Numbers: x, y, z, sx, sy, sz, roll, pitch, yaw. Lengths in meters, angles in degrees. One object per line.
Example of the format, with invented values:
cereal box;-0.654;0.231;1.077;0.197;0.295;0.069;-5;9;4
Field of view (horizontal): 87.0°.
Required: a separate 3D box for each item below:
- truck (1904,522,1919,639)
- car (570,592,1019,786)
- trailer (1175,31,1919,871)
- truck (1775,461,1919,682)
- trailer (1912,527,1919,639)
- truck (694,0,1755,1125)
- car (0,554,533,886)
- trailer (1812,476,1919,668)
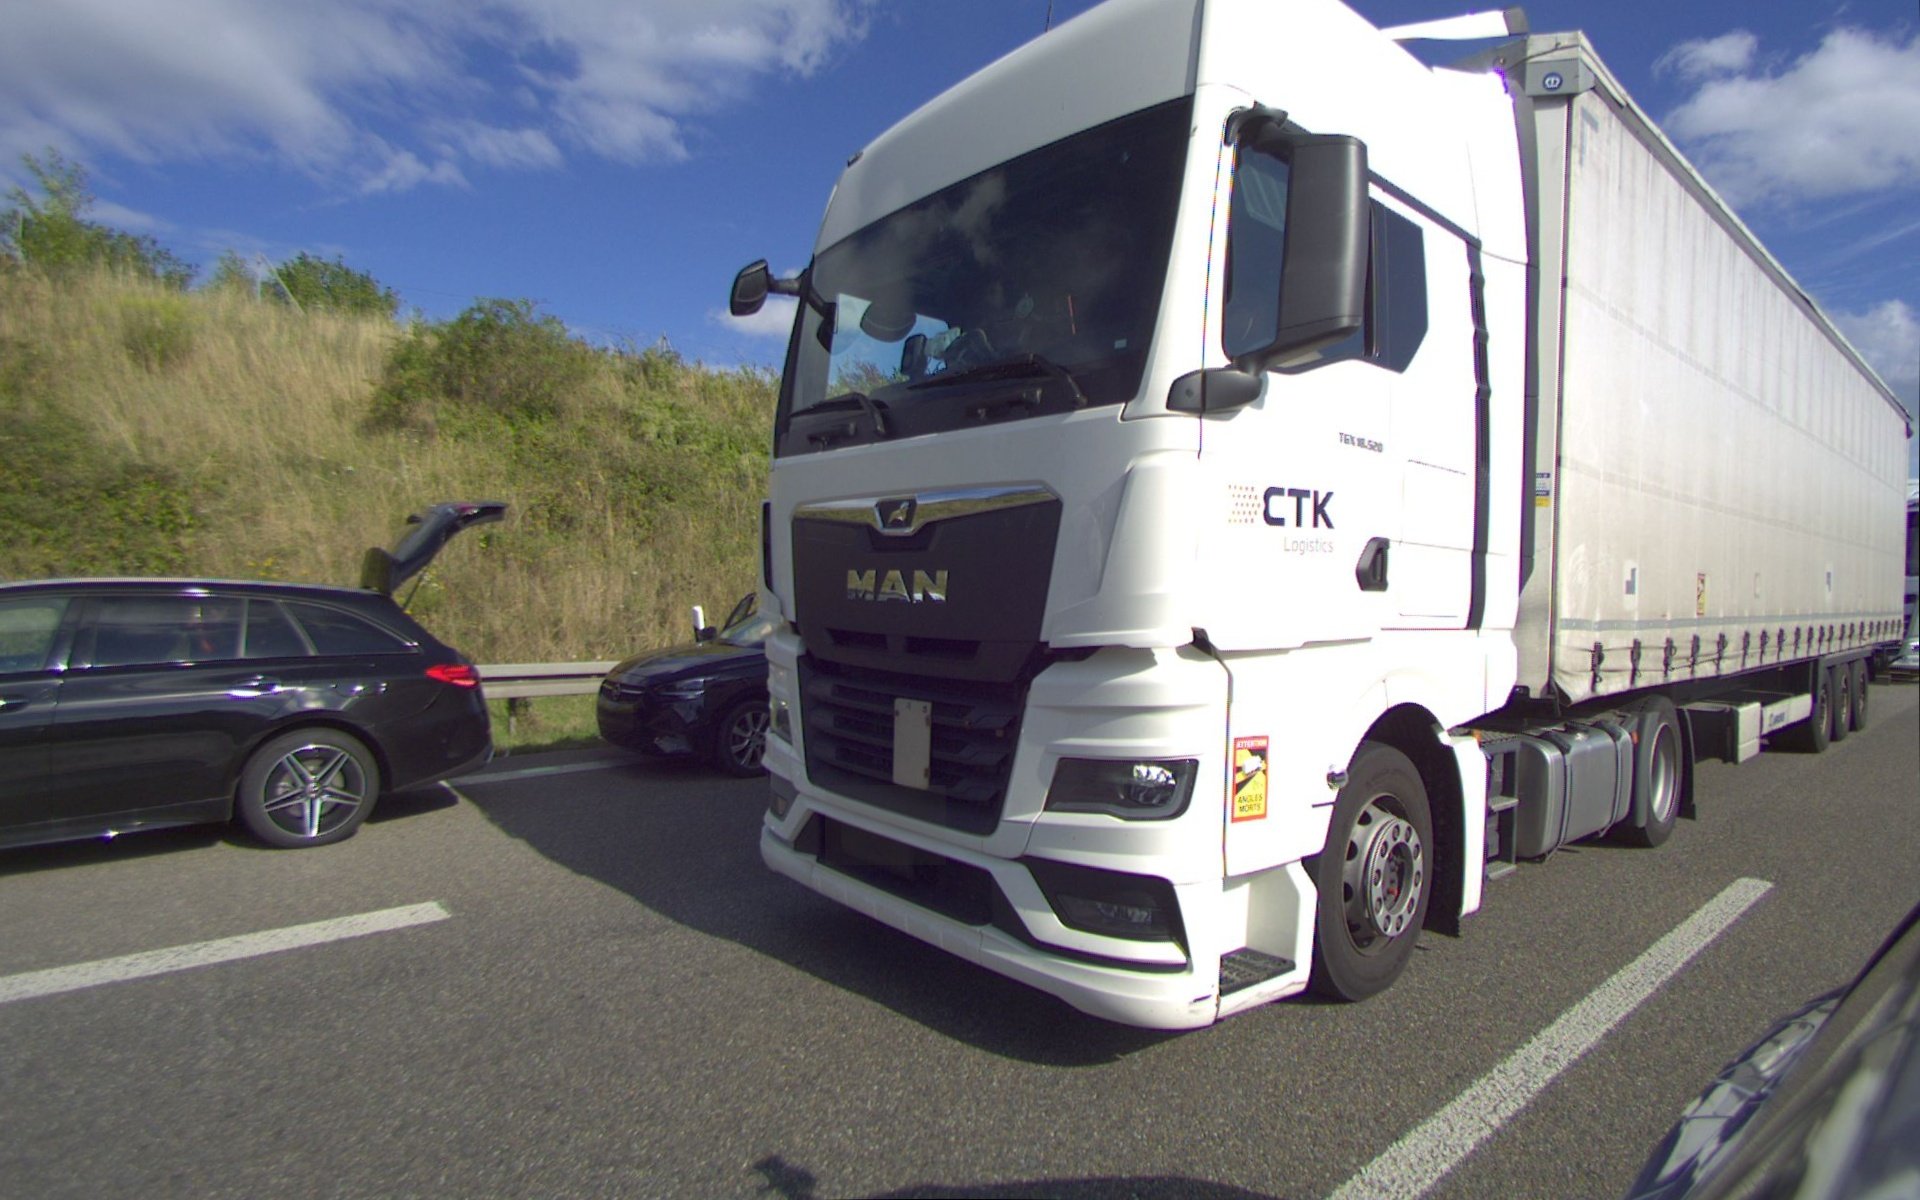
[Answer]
truck;35.379;-0.700;35.437;5.724;3.989;2.806;0;-1;-41
car;-1.346;0.631;9.046;3.673;1.369;1.635;0;0;-42
trailer;7.180;-0.769;10.210;12.718;4.133;2.708;0;1;-41
truck;19.160;-0.542;20.767;6.874;3.917;2.651;-1;0;-41
trailer;39.743;-0.687;39.266;12.842;3.989;2.796;-1;0;-41
truck;2.013;-0.763;5.668;6.251;4.110;2.713;0;1;-41
car;-5.009;0.544;5.437;4.656;1.532;1.903;0;0;-42
trailer;24.325;-0.625;25.309;13.161;3.917;2.666;-1;0;-41
